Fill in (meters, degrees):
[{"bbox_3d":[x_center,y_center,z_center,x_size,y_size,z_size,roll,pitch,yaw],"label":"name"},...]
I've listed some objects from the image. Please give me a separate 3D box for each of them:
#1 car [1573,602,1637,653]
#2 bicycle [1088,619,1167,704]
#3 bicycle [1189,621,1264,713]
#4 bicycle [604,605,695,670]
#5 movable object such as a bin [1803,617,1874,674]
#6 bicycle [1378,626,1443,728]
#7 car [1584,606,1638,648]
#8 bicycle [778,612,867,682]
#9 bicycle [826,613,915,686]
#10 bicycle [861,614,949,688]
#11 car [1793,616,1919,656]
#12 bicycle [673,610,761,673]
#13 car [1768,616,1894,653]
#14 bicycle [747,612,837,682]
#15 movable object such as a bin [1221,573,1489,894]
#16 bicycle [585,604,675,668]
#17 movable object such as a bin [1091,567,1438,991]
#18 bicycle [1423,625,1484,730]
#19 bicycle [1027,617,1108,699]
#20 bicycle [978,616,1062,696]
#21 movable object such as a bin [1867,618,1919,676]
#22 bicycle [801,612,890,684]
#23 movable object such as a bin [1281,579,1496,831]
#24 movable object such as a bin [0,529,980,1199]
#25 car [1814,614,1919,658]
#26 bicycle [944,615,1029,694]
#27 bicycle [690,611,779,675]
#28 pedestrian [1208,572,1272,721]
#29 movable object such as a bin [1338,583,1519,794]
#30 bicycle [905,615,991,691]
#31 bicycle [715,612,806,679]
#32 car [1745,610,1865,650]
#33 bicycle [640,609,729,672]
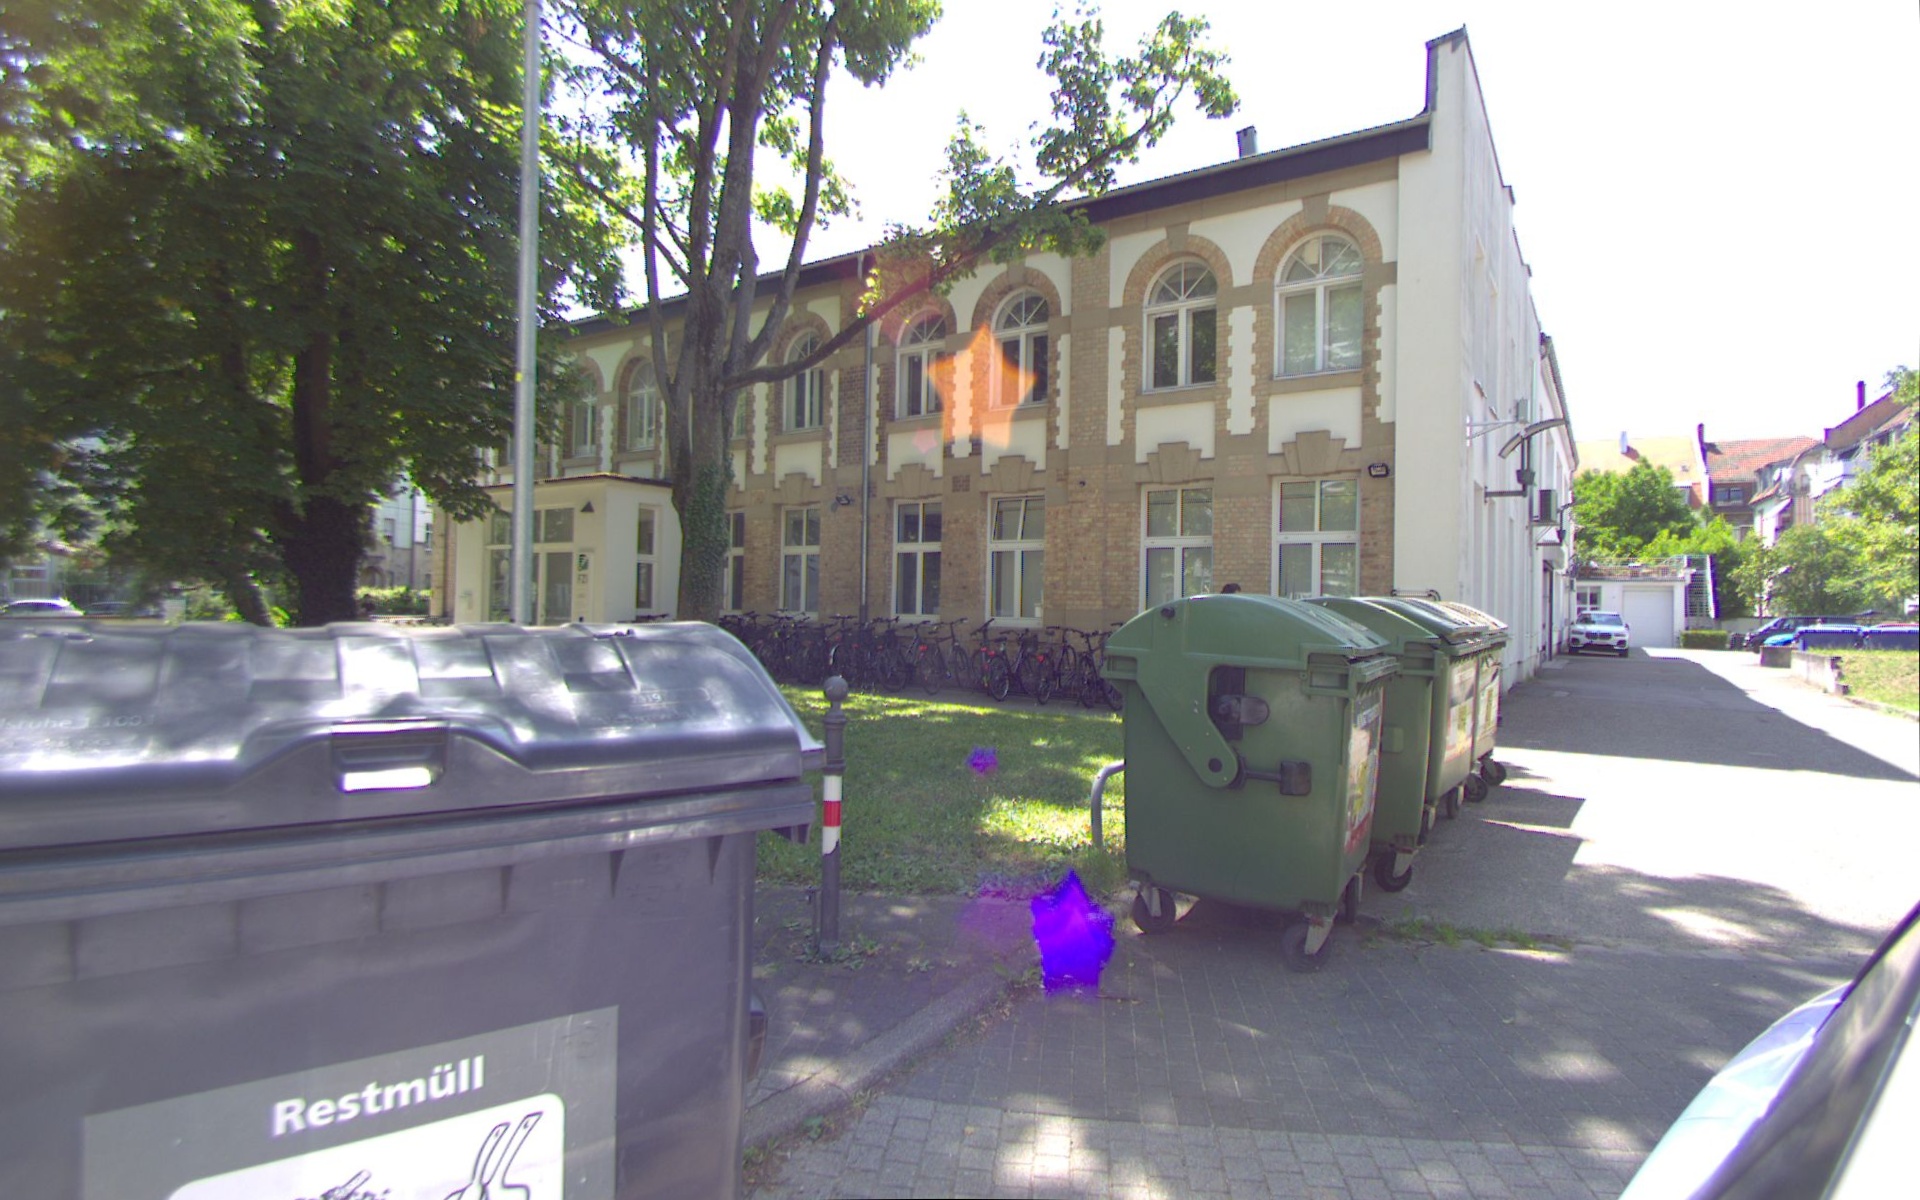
[{"bbox_3d":[25.300,1.015,39.603,1.999,1.826,4.669,1,0,34],"label":"car"},{"bbox_3d":[2.412,0.841,14.433,0.403,1.115,1.804,0,0,34],"label":"bicycle"},{"bbox_3d":[3.611,0.860,13.602,0.403,1.115,1.804,0,0,34],"label":"bicycle"},{"bbox_3d":[-5.964,0.692,19.544,0.403,1.115,1.805,0,3,34],"label":"bicycle"},{"bbox_3d":[22.942,1.167,26.461,1.264,1.406,1.082,1,0,35],"label":"movable object such as a bin"},{"bbox_3d":[5.480,0.890,12.267,0.403,1.115,1.804,0,0,34],"label":"bicycle"},{"bbox_3d":[30.157,1.201,46.812,1.999,1.826,4.669,1,0,34],"label":"car"},{"bbox_3d":[-2.313,0.768,17.235,0.403,1.115,1.804,0,0,34],"label":"bicycle"},{"bbox_3d":[-1.442,0.782,16.642,0.403,1.115,1.804,0,0,34],"label":"bicycle"},{"bbox_3d":[-0.863,0.790,16.354,0.403,1.115,1.804,0,0,34],"label":"bicycle"},{"bbox_3d":[39.339,1.549,44.321,4.188,1.588,1.597,1,0,30],"label":"car"},{"bbox_3d":[-4.569,0.754,19.133,0.403,1.115,1.804,0,0,34],"label":"bicycle"},{"bbox_3d":[40.505,1.571,47.191,4.188,1.588,1.597,1,0,30],"label":"car"},{"bbox_3d":[-2.885,0.783,17.512,0.403,1.115,1.804,0,0,34],"label":"bicycle"},{"bbox_3d":[2.195,0.610,5.540,1.072,1.476,1.359,1,0,35],"label":"movable object such as a bin"},{"bbox_3d":[-6.509,0.683,20.055,0.403,1.115,1.805,0,3,34],"label":"bicycle"},{"bbox_3d":[1.368,0.619,4.404,1.072,1.476,1.359,1,0,35],"label":"movable object such as a bin"},{"bbox_3d":[5.891,0.873,12.041,0.403,1.115,1.804,0,0,34],"label":"bicycle"},{"bbox_3d":[1.619,0.828,15.012,0.403,1.115,1.804,0,0,34],"label":"bicycle"},{"bbox_3d":[0.939,0.818,15.382,0.403,1.115,1.804,0,0,34],"label":"bicycle"},{"bbox_3d":[24.013,1.184,25.740,1.264,1.406,1.082,1,0,35],"label":"movable object such as a bin"},{"bbox_3d":[-1.893,0.775,16.928,0.403,1.115,1.804,0,0,34],"label":"bicycle"},{"bbox_3d":[2.913,0.613,6.812,1.072,1.476,1.359,1,0,35],"label":"movable object such as a bin"},{"bbox_3d":[-0.790,0.677,1.688,1.072,1.476,1.359,1,0,35],"label":"movable object such as a bin"},{"bbox_3d":[35.711,1.367,38.889,4.188,1.588,1.597,1,0,30],"label":"car"},{"bbox_3d":[0.438,0.810,15.659,0.403,1.115,1.804,0,0,34],"label":"bicycle"},{"bbox_3d":[-4.129,0.762,18.653,0.403,1.115,1.804,0,0,34],"label":"bicycle"},{"bbox_3d":[3.458,0.546,12.470,0.549,1.771,0.680,0,0,35],"label":"pedestrian"},{"bbox_3d":[3.721,0.619,7.986,1.072,1.476,1.359,1,0,35],"label":"movable object such as a bin"},{"bbox_3d":[-0.165,0.801,16.032,0.403,1.115,1.804,0,0,34],"label":"bicycle"},{"bbox_3d":[-3.509,0.773,17.944,0.403,1.115,1.804,0,0,34],"label":"bicycle"},{"bbox_3d":[41.601,1.444,49.967,4.188,1.846,1.989,1,0,29],"label":"car"},{"bbox_3d":[-5.203,0.746,19.248,0.403,1.115,1.804,0,0,34],"label":"bicycle"}]
